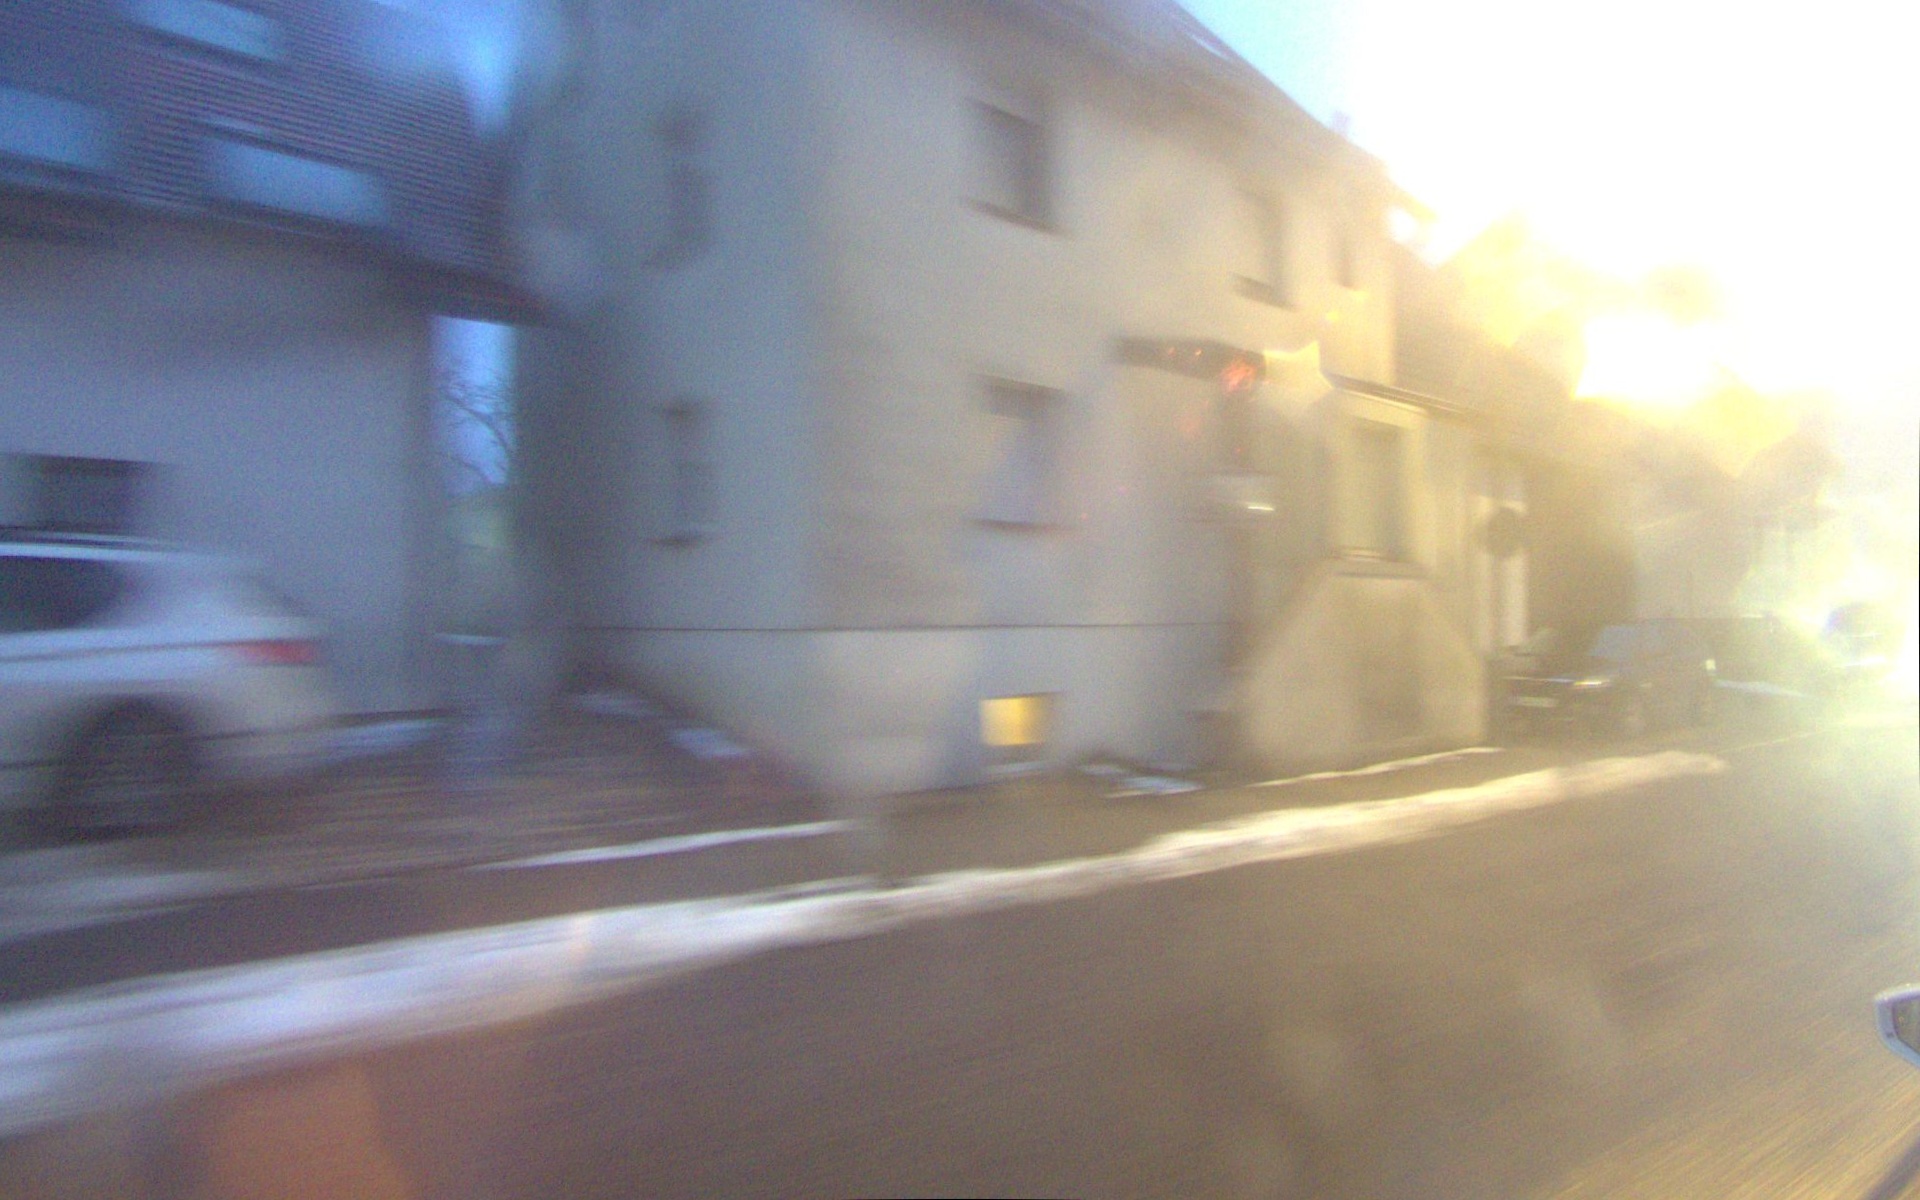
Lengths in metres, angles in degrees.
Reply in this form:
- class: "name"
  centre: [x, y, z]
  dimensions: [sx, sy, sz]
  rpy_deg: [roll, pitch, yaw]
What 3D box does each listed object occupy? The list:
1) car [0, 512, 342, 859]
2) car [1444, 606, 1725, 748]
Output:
- class: "car"
  centre: [-6.050, 0.399, 5.212]
  dimensions: [4.607, 1.760, 1.747]
  rpy_deg: [-1, 5, -44]
- class: "car"
  centre: [8.552, 0.896, 13.633]
  dimensions: [4.154, 1.543, 1.977]
  rpy_deg: [0, 2, -39]
